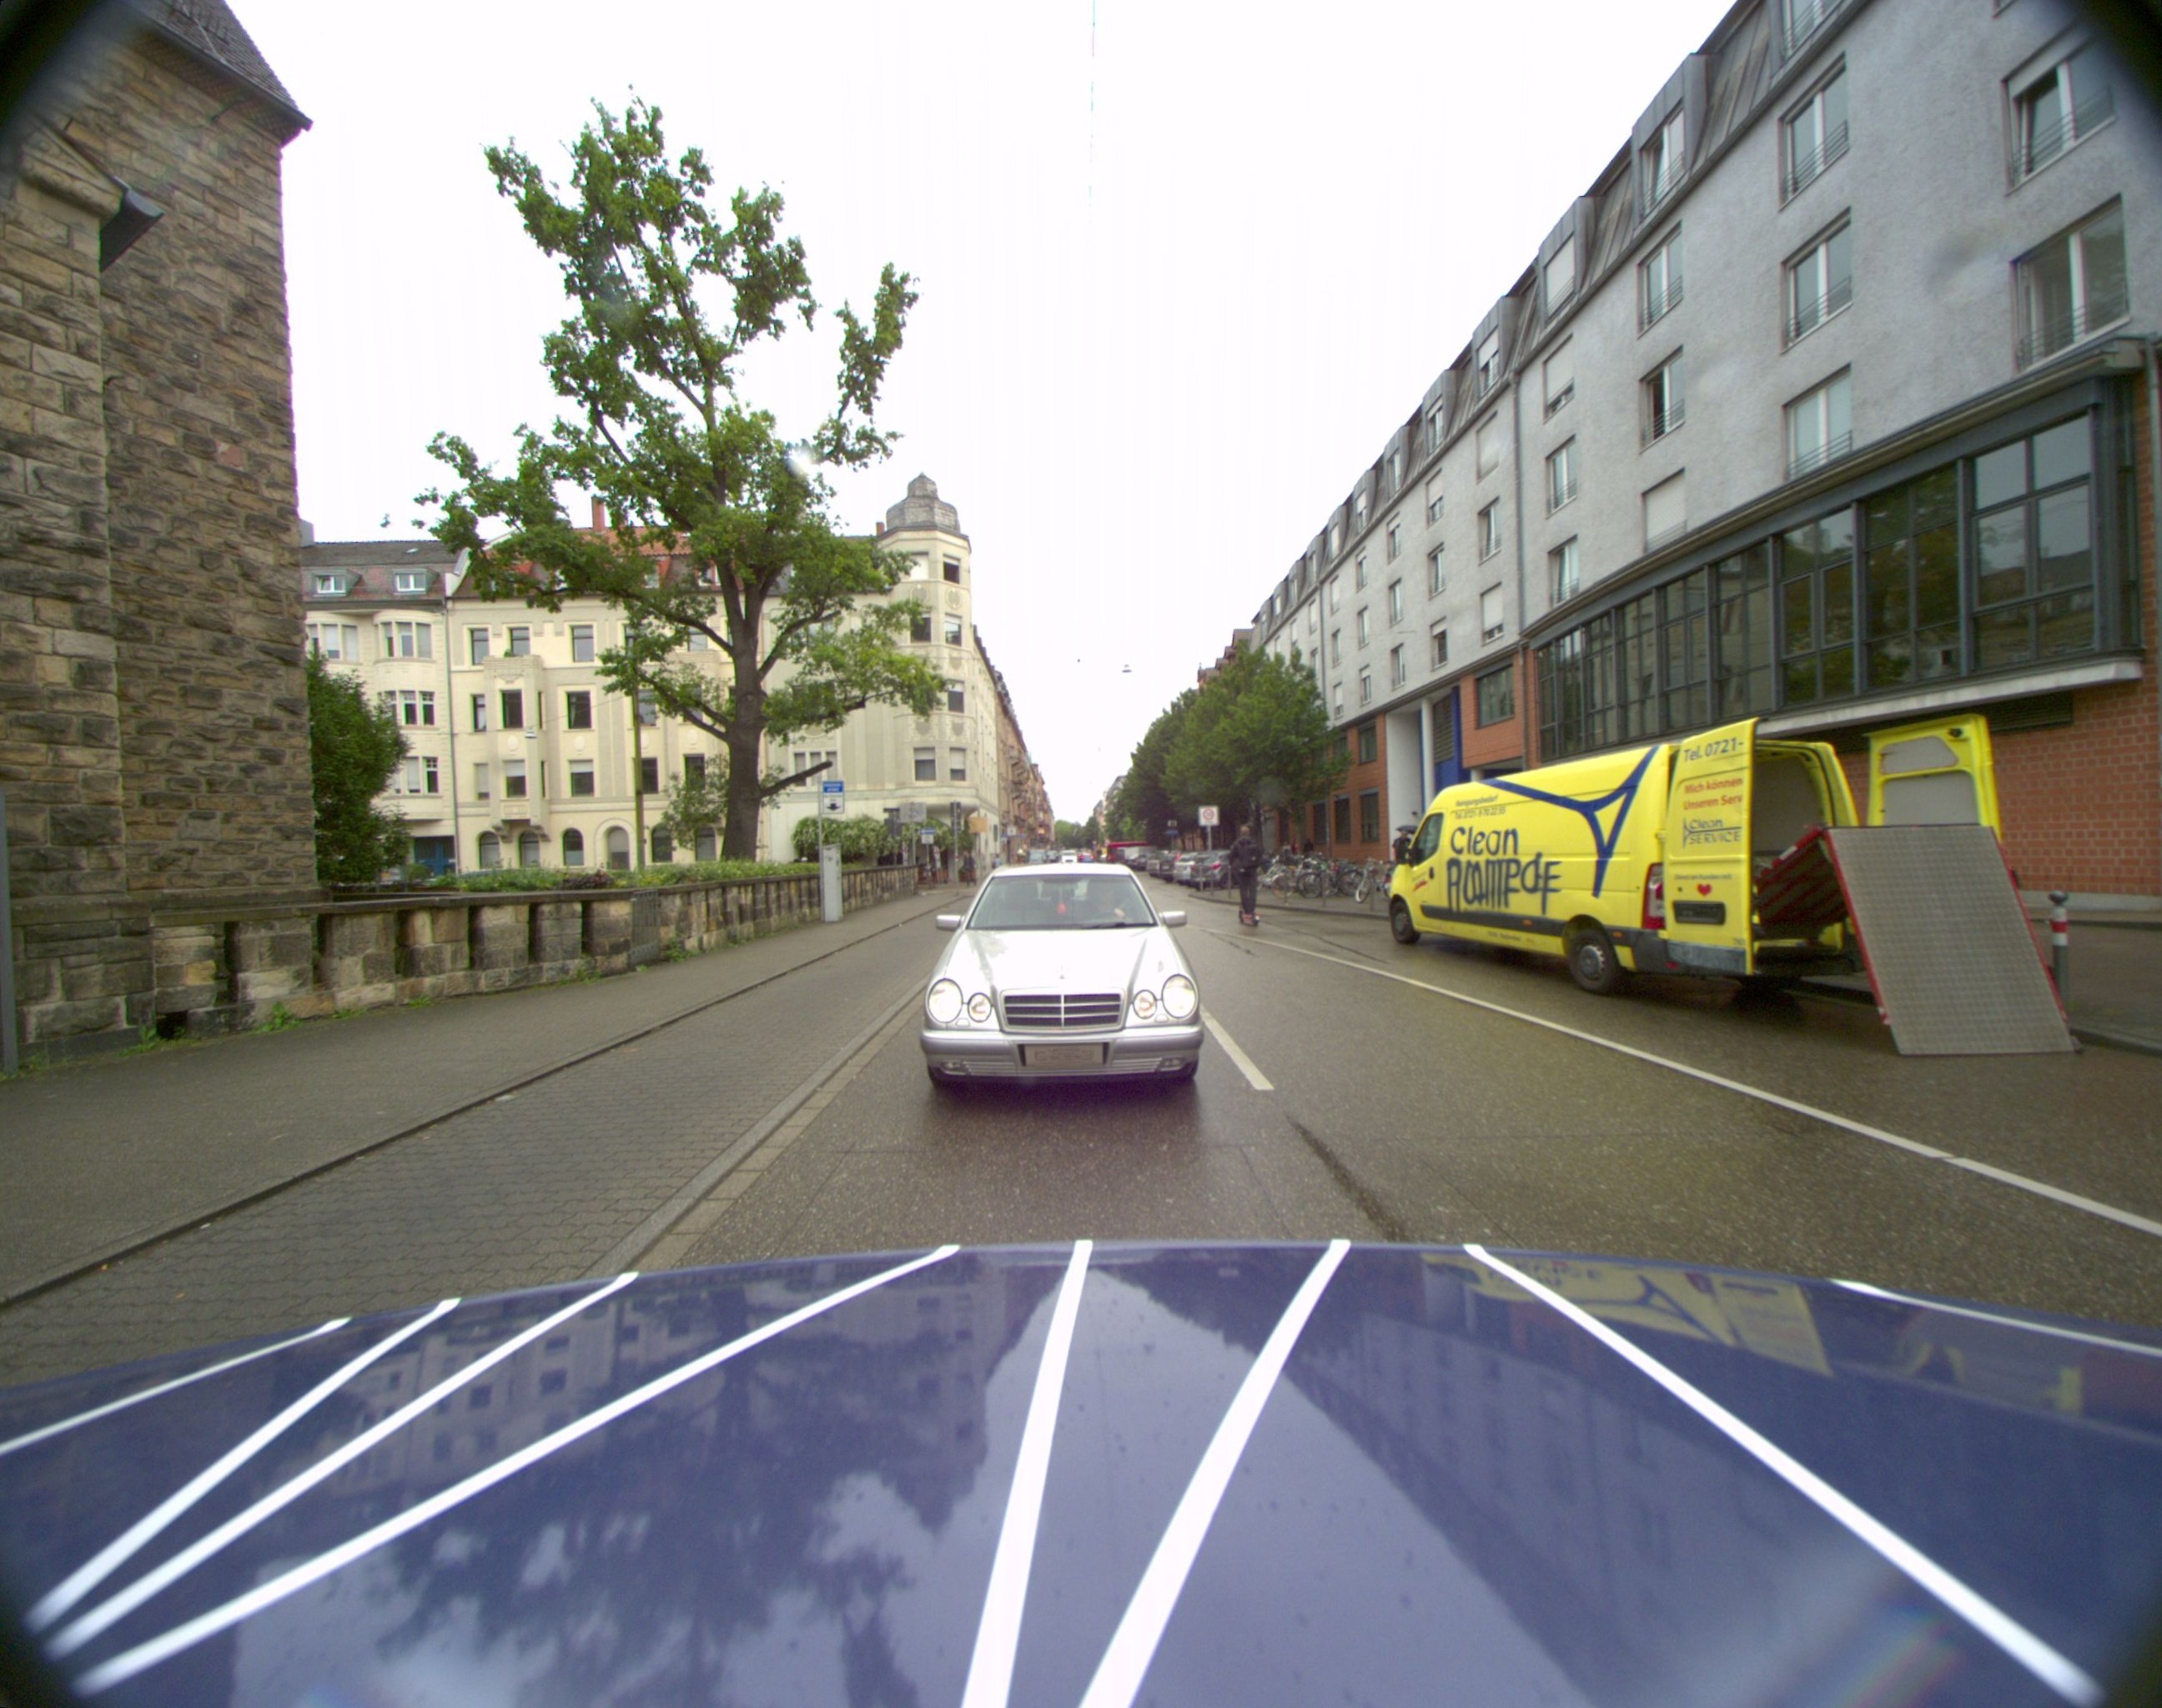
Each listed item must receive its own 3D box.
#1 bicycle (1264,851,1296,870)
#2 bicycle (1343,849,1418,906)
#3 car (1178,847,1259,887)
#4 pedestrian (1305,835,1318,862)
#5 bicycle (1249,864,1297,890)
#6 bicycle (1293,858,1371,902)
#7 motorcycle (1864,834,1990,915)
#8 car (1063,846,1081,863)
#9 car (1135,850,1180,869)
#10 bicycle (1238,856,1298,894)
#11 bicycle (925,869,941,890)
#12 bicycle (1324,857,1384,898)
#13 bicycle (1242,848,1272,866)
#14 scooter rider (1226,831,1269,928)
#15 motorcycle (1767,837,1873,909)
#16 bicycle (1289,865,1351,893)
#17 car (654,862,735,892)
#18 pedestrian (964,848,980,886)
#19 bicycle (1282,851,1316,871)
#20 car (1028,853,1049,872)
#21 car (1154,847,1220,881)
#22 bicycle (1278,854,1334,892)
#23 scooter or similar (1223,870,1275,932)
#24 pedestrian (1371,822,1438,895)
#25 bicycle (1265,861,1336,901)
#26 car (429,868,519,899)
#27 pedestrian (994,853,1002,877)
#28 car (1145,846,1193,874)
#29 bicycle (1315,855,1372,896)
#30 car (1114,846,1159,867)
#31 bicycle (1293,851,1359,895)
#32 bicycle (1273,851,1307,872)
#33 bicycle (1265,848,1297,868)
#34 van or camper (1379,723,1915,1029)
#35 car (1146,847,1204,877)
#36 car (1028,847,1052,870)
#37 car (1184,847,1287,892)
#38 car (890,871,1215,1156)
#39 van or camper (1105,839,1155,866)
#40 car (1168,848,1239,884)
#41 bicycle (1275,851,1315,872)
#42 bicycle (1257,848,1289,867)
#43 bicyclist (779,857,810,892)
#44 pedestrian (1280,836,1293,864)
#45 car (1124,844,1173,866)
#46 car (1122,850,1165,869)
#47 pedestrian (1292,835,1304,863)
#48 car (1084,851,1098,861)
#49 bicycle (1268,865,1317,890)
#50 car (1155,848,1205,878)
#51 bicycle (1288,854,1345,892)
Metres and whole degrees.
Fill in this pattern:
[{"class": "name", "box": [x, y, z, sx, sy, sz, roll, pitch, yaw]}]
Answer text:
[{"class": "bicycle", "box": [10.473, 0.338, 40.021, 1.590, 0.979, 0.445, -2, 1, -8]}, {"class": "bicycle", "box": [7.514, 0.564, 19.007, 1.922, 1.209, 0.768, -6, 3, -35]}, {"class": "car", "box": [5.797, 0.539, 31.983, 3.083, 1.494, 1.449, -3, 1, -31]}, {"class": "pedestrian", "box": [13.111, -0.293, 43.274, 0.516, 1.521, 0.547, -1, 1, -3]}, {"class": "bicycle", "box": [6.568, 0.786, 26.011, 1.473, 0.800, 0.497, -3, 1, 3]}, {"class": "bicycle", "box": [6.714, 0.699, 20.411, 1.858, 1.067, 0.609, -3, 1, 5]}, {"class": "motorcycle", "box": [13.281, 0.284, 11.989, 0.524, 1.174, 1.760, -3, 1, 19]}, {"class": "car", "box": [-1.071, 0.050, 89.259, 1.998, 2.002, 4.000, -1, 1, 1]}, {"class": "car", "box": [6.134, 0.413, 60.410, 1.685, 1.482, 3.799, 0, 1, 40]}, {"class": "bicycle", "box": [6.125, 0.679, 24.922, 1.812, 1.099, 0.472, -3, 1, -5]}, {"class": "bicycle", "box": [-7.307, 1.240, 37.671, 0.390, 0.888, 2.023, -1, 3, 0]}, {"class": "bicycle", "box": [7.501, 0.641, 20.916, 1.462, 1.058, 0.418, -3, 1, 4]}, {"class": "bicycle", "box": [10.212, 0.160, 44.080, 1.590, 0.979, 0.465, -2, 1, -8]}, {"class": "scooter rider", "box": [3.367, 0.513, 15.387, 0.712, 1.924, 0.503, -1, 1, -2]}, {"class": "motorcycle", "box": [13.073, 0.289, 13.513, 0.524, 1.174, 2.006, -3, 1, 19]}, {"class": "bicycle", "box": [7.279, 0.752, 23.139, 1.773, 0.757, 0.456, -3, 1, -13]}, {"class": "car", "box": [-19.224, 1.115, 37.845, 3.270, 1.401, 1.448, -1, 1, 3]}, {"class": "pedestrian", "box": [-5.462, 0.659, 38.123, 0.646, 1.862, 0.693, -1, 1, 0]}, {"class": "bicycle", "box": [11.104, 0.354, 38.651, 1.590, 0.979, 0.445, -2, 1, -8]}, {"class": "car", "box": [-3.133, 0.634, 56.437, 1.447, 1.348, 3.204, -1, 0, 0]}, {"class": "car", "box": [5.245, 0.487, 37.476, 3.084, 1.543, 1.449, -3, 1, -40]}, {"class": "bicycle", "box": [7.238, 0.598, 24.443, 1.610, 1.099, 0.520, -3, 1, -5]}, {"class": "scooter or similar", "box": [3.378, 0.923, 15.372, 0.702, 1.158, 1.385, -1, 1, -2]}, {"class": "pedestrian", "box": [9.020, 0.113, 21.230, 1.228, 1.870, 1.055, -6, 1, 0]}, {"class": "bicycle", "box": [6.135, 0.746, 21.249, 1.800, 0.987, 0.520, -3, 1, -2]}, {"class": "car", "box": [-29.769, 1.424, 37.298, 3.270, 1.401, 1.448, -1, 1, 3]}, {"class": "pedestrian", "box": [-5.140, 0.692, 47.092, 0.482, 1.452, 0.392, -1, 1, -1]}, {"class": "car", "box": [5.335, 0.387, 45.973, 2.685, 1.546, 1.148, -3, 1, -29]}, {"class": "bicycle", "box": [7.477, 0.617, 21.690, 1.461, 1.096, 0.462, -3, 1, 14]}, {"class": "car", "box": [5.194, 0.219, 70.669, 4.338, 1.822, 1.571, -1, 1, -41]}, {"class": "bicycle", "box": [7.260, 0.560, 22.547, 1.815, 1.187, 0.519, -3, 1, -13]}, {"class": "bicycle", "box": [10.480, 0.374, 38.106, 1.590, 0.979, 0.445, -2, 1, -8]}, {"class": "bicycle", "box": [10.682, 0.210, 40.641, 1.590, 0.979, 0.445, -2, 1, -8]}, {"class": "van or camper", "box": [6.048, 0.171, 9.500, 2.201, 2.596, 5.941, -1, 0, -1]}, {"class": "car", "box": [5.366, 0.457, 43.217, 2.985, 1.546, 1.369, -3, 1, -29]}, {"class": "car", "box": [-3.304, 0.316, 61.505, 1.726, 1.794, 3.462, -1, 0, 0]}, {"class": "car", "box": [5.922, 0.539, 29.057, 3.629, 1.494, 1.736, -3, 2, -31]}, {"class": "car", "box": [-0.156, 0.934, 6.228, 1.764, 1.420, 3.999, -2, 0, 0]}, {"class": "van or camper", "box": [4.969, -0.129, 76.589, 4.604, 2.597, 1.999, -1, 1, -27]}, {"class": "car", "box": [5.607, 0.532, 34.592, 3.084, 1.494, 1.449, -3, 1, -40]}, {"class": "bicycle", "box": [10.609, 0.380, 37.633, 1.851, 0.979, 0.445, -2, 1, -8]}, {"class": "bicycle", "box": [10.565, 0.192, 41.806, 1.590, 0.979, 0.465, -2, 1, -8]}, {"class": "bicyclist", "box": [-12.822, 0.921, 34.067, 1.133, 1.521, 0.537, -2, 1, 3]}, {"class": "pedestrian", "box": [11.703, -0.233, 43.219, 0.605, 1.601, 0.372, -2, 1, -1]}, {"class": "car", "box": [5.983, 0.097, 67.156, 4.338, 1.884, 1.685, -1, 1, -41]}, {"class": "car", "box": [5.196, 0.443, 62.926, 1.685, 1.482, 3.799, 0, 1, 40]}, {"class": "pedestrian", "box": [12.218, -0.278, 42.813, 0.514, 1.601, 0.425, -2, 1, 1]}, {"class": "car", "box": [1.296, 0.229, 98.046, 1.651, 1.301, 3.311, -1, 0, -3]}, {"class": "bicycle", "box": [7.045, 0.781, 25.384, 1.473, 0.717, 0.497, -3, 1, 3]}, {"class": "car", "box": [5.317, 0.480, 40.709, 2.506, 1.442, 1.191, -3, 1, -40]}, {"class": "bicycle", "box": [7.380, 0.583, 23.795, 1.611, 1.099, 0.519, -3, 1, -13]}]
